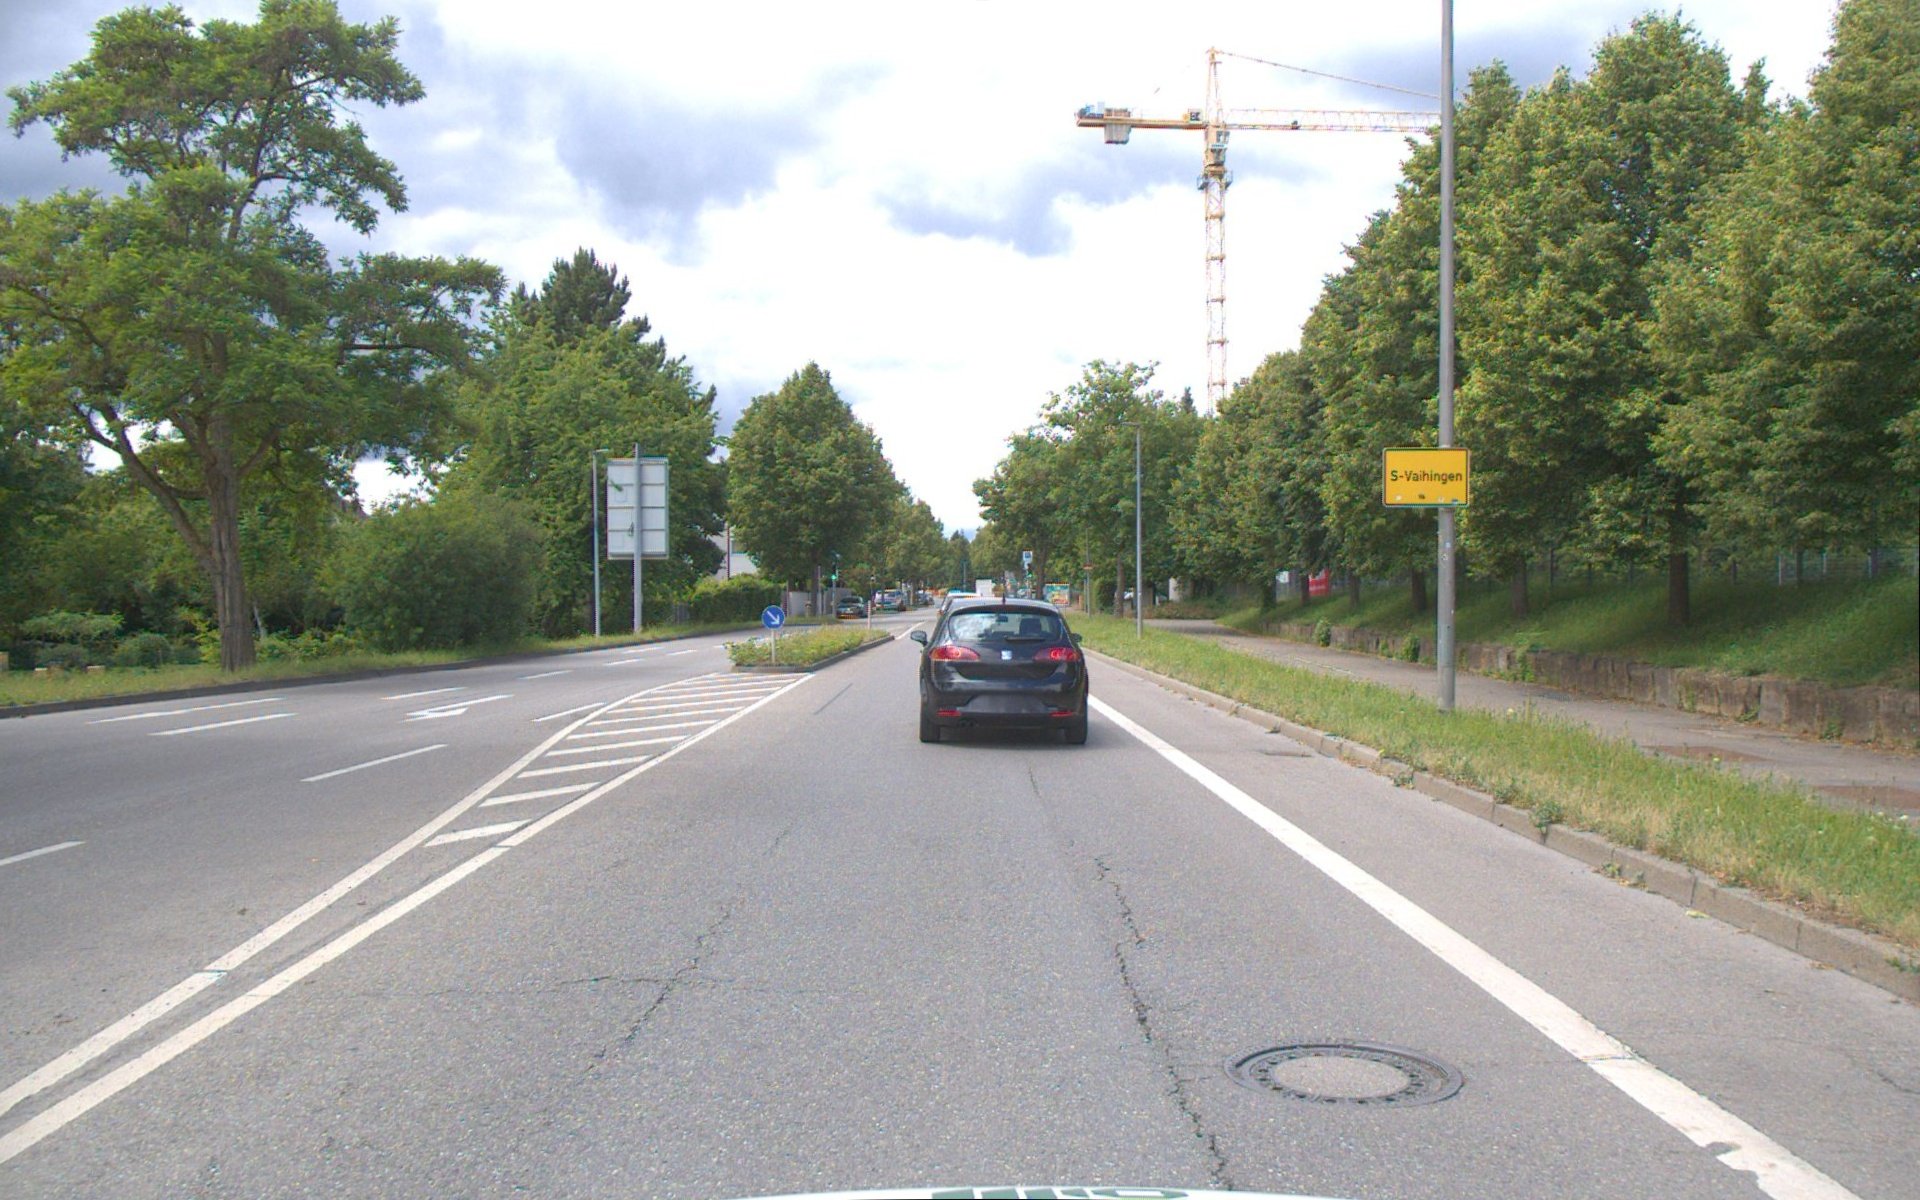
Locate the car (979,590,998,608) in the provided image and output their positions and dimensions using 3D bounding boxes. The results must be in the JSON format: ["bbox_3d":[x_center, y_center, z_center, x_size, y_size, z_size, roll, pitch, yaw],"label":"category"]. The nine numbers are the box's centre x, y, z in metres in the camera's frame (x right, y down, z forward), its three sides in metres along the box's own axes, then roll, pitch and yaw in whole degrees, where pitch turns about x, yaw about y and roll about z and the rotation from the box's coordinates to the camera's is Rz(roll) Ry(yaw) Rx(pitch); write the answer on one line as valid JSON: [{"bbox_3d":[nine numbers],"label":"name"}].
[{"bbox_3d":[2.767,-0.091,159.421,1.842,1.718,4.214,0,0,1],"label":"car"}]

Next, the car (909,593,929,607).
[{"bbox_3d":[-4.764,-0.045,194.954,2.056,1.532,5.785,-2,0,1],"label":"car"}]

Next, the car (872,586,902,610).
[{"bbox_3d":[-6.081,-0.179,137.720,2.056,1.929,5.785,-2,0,1],"label":"car"}]

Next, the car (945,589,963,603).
[{"bbox_3d":[-0.711,-0.462,200.161,1.836,1.663,4.342,-2,0,3],"label":"car"}]

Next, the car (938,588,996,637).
[{"bbox_3d":[0.231,0.397,54.357,1.808,1.536,3.811,1,0,0],"label":"car"}]

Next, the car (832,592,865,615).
[{"bbox_3d":[-7.277,0.201,108.521,1.682,1.419,4.802,-2,0,1],"label":"car"}]

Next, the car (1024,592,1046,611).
[{"bbox_3d":[6.001,0.134,132.021,1.653,1.516,3.355,0,0,1],"label":"car"}]

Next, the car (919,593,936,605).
[{"bbox_3d":[-4.458,-0.153,227.786,2.056,1.532,5.785,-2,0,1],"label":"car"}]

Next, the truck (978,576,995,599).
[{"bbox_3d":[3.742,-1.710,235.566,2.232,3.158,8.511,2,0,1],"label":"truck"}]

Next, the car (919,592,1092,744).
[{"bbox_3d":[0.437,0.653,17.760,1.629,1.426,3.811,1,0,0],"label":"car"}]
